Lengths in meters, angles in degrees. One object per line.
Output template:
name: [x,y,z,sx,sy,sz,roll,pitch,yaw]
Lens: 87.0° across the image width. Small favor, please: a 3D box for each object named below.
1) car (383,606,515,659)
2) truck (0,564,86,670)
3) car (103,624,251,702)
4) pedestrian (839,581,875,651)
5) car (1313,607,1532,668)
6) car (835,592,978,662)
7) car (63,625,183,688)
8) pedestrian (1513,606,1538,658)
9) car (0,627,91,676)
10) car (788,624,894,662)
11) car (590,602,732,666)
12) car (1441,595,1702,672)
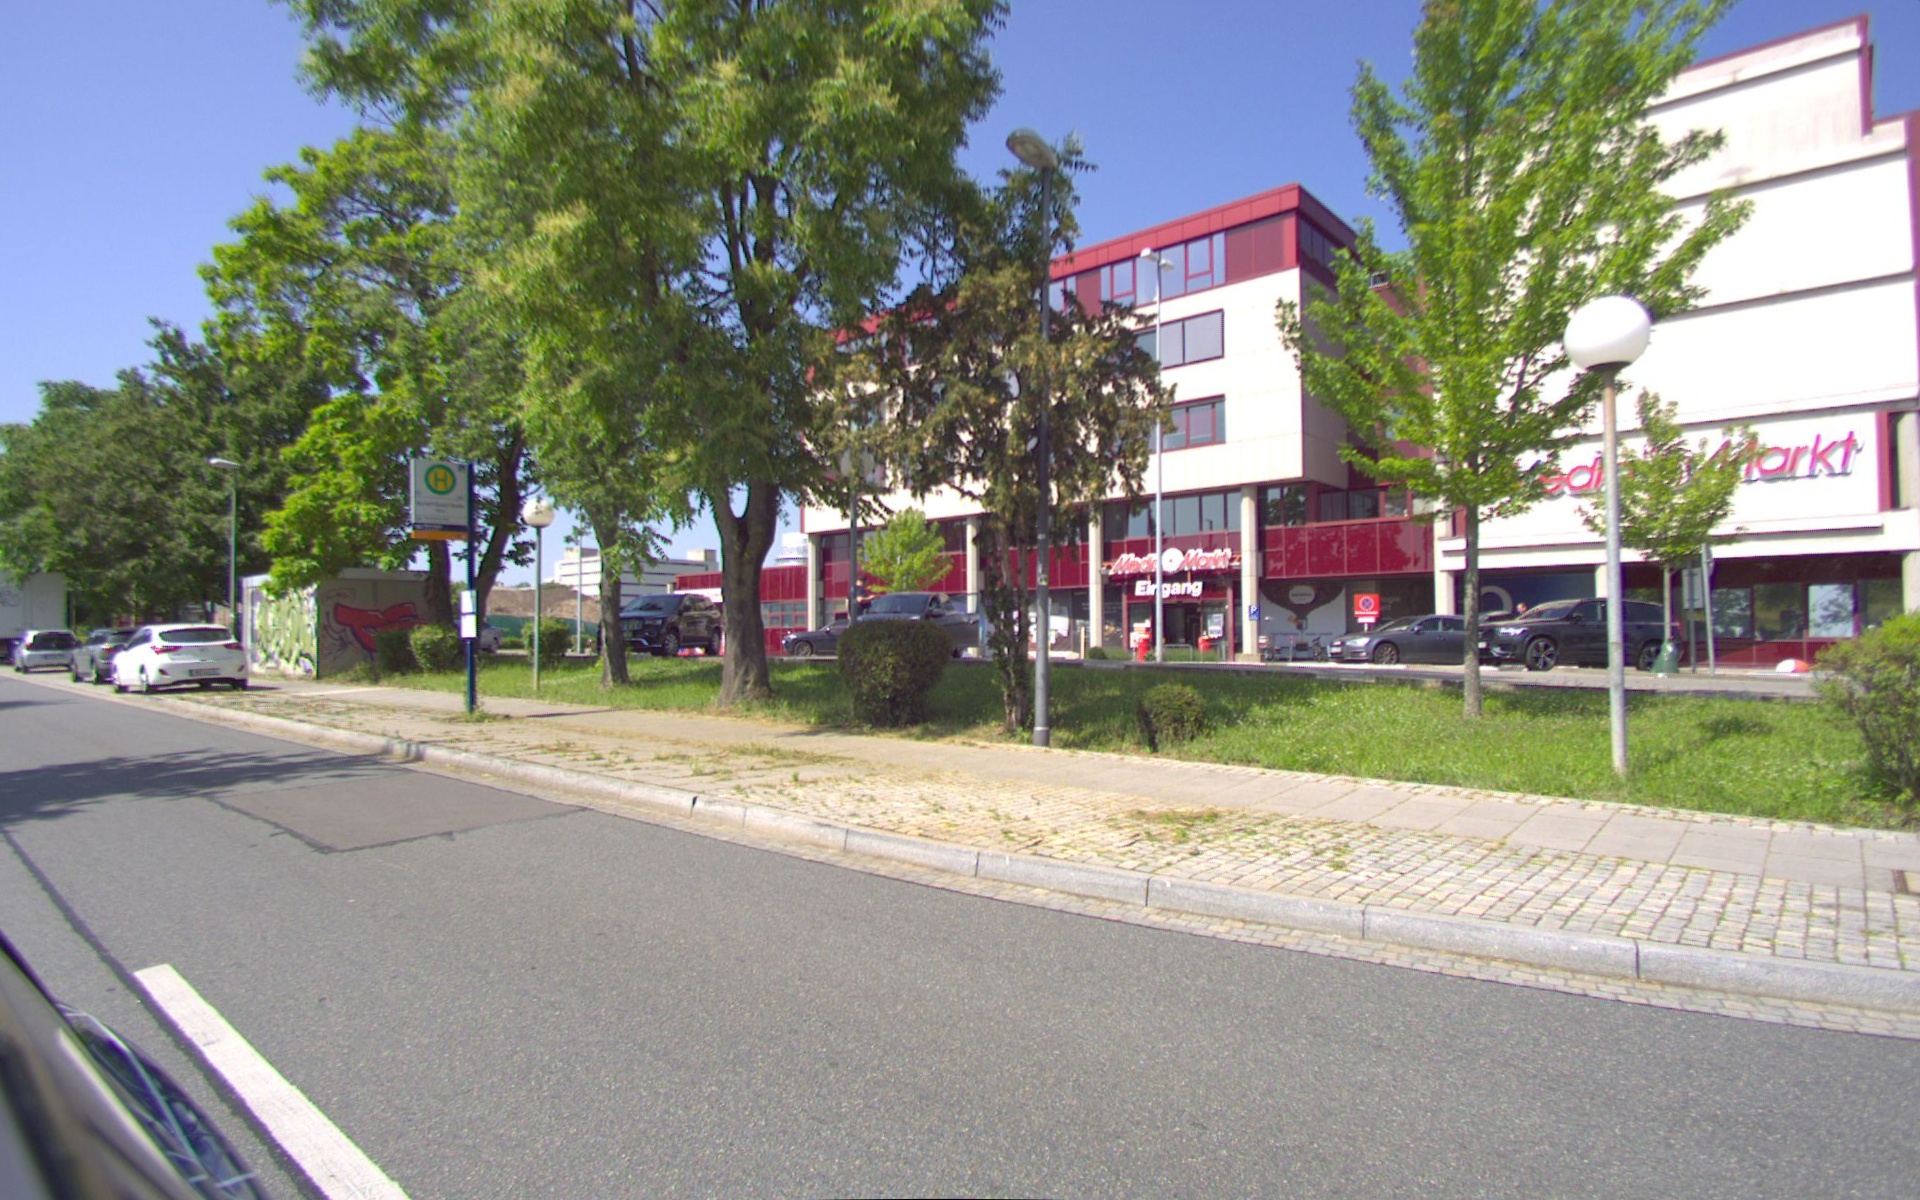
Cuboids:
car: [-18.939,1.207,37.788,1.978,1.818,4.701,-2,-2,10]
truck: [-40.700,0.798,43.658,9.274,4.175,3.310,-2,-1,42]
car: [-17.133,1.323,22.089,3.997,1.504,1.743,-2,-1,40]
pedestrian: [-2.320,0.369,22.845,0.555,1.539,0.759,0,-2,-27]
car: [11.849,0.972,26.097,4.794,1.504,1.921,0,-2,-6]
car: [-1.044,0.546,21.803,1.705,1.348,3.964,-2,-1,19]
car: [-22.454,1.484,27.092,3.997,1.527,1.792,-2,-1,40]
pedestrian: [14.982,0.845,26.808,0.519,1.366,0.458,-2,-2,31]
car: [-31.398,1.756,34.718,3.997,1.527,1.792,-2,-1,40]
car: [-4.815,1.739,41.013,4.174,1.462,1.725,-1,-2,-6]
car: [-7.843,0.848,27.074,1.831,1.504,4.805,-1,-1,8]
car: [14.227,0.841,23.672,5.031,1.606,2.192,2,-4,-12]
